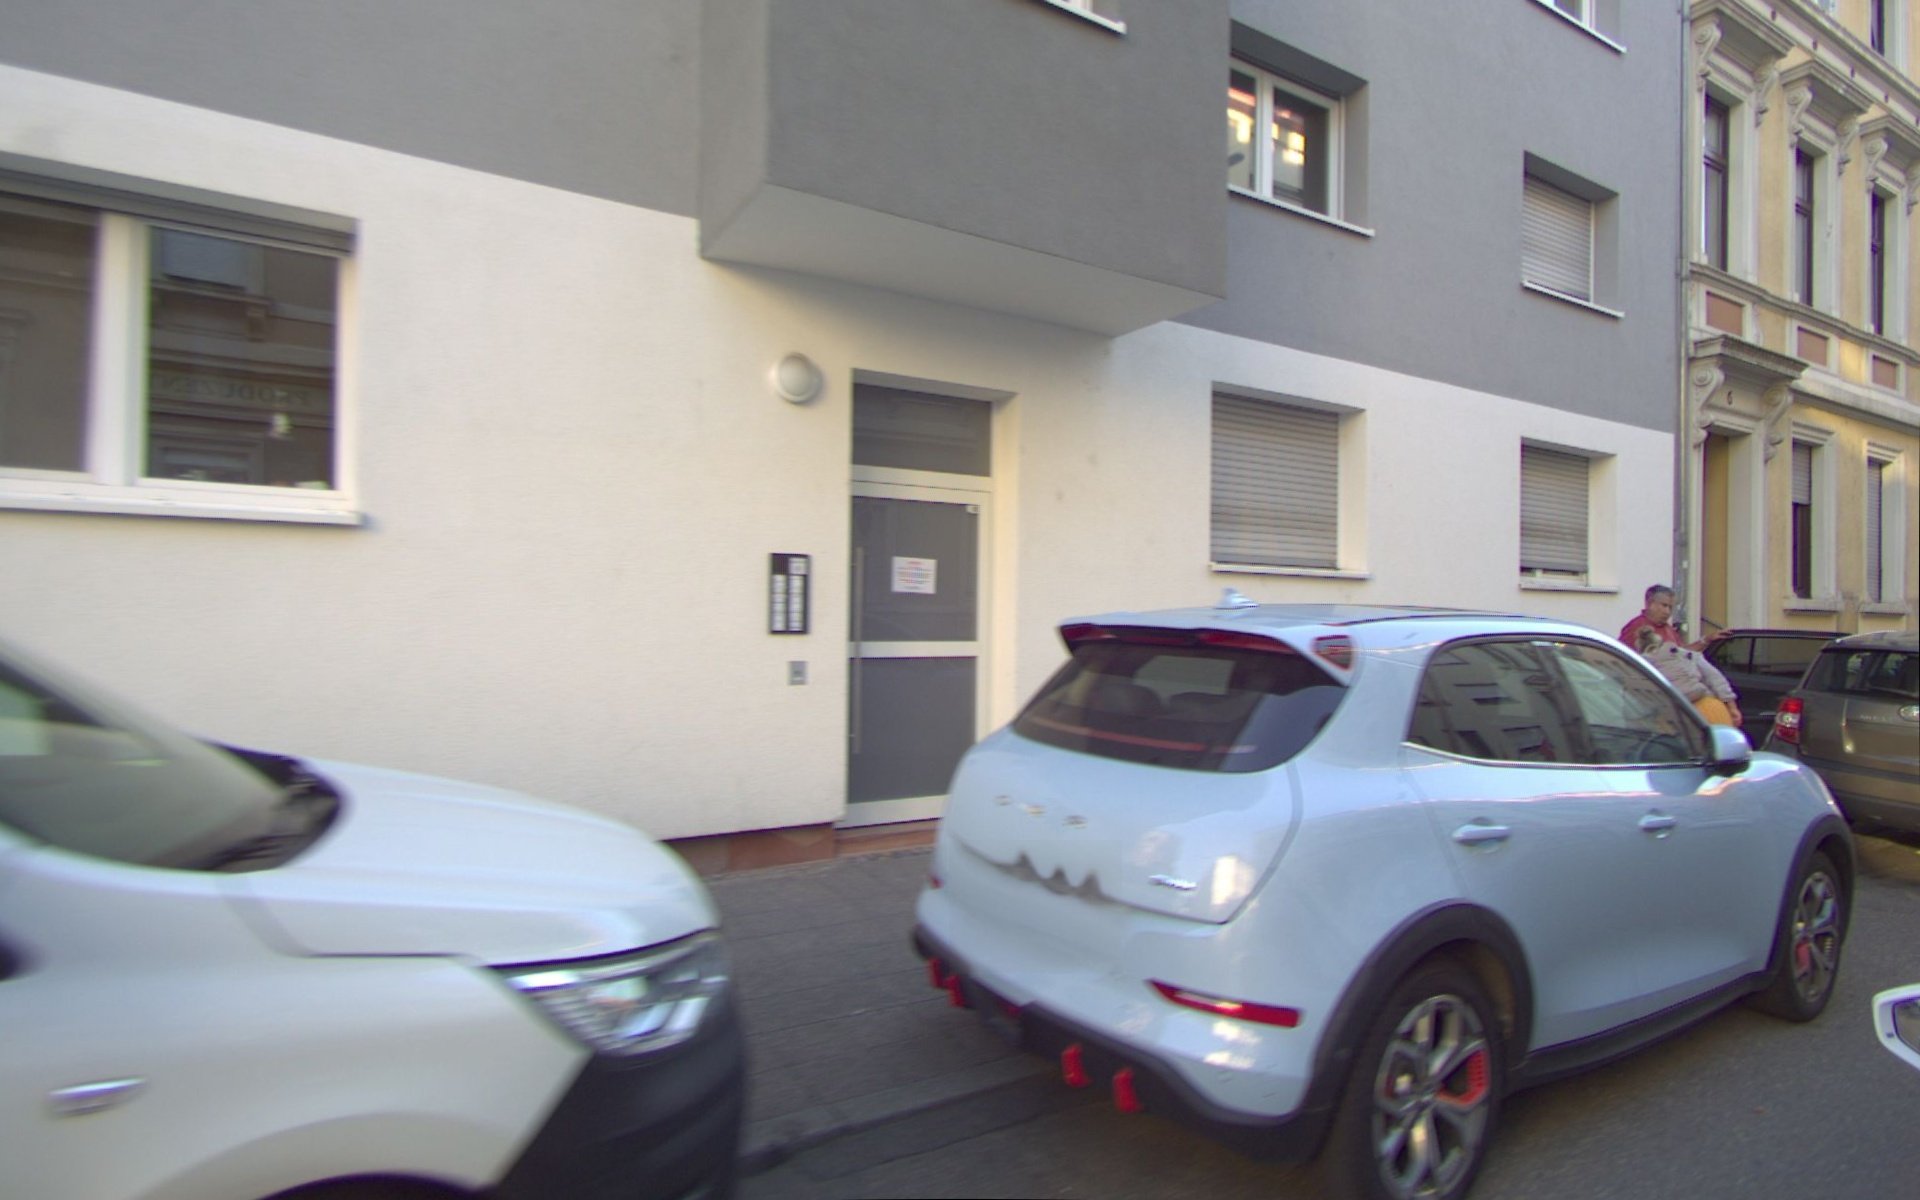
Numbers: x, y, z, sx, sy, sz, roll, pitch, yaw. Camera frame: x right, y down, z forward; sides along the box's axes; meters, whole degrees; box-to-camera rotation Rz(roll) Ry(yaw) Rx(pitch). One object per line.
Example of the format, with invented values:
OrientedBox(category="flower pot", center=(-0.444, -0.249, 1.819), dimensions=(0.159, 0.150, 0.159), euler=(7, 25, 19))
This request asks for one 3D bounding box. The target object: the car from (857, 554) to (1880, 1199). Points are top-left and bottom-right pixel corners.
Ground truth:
OrientedBox(category="car", center=(1.901, 0.719, 4.009), dimensions=(4.323, 1.584, 1.752), euler=(0, -1, -35))

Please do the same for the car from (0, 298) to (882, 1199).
OrientedBox(category="car", center=(-2.318, 0.550, 1.467), dimensions=(4.138, 1.838, 1.622), euler=(1, -1, -32))

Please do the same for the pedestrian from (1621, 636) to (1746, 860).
OrientedBox(category="pedestrian", center=(4.972, 0.970, 6.943), dimensions=(0.650, 1.429, 0.671), euler=(0, -1, 32))

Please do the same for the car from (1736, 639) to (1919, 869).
OrientedBox(category="car", center=(7.426, 0.995, 7.152), dimensions=(4.085, 1.349, 1.675), euler=(2, -2, -31))

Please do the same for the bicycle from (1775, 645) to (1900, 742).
OrientedBox(category="bicycle", center=(11.005, 1.132, 12.577), dimensions=(2.105, 1.133, 0.531), euler=(1, -1, -30))

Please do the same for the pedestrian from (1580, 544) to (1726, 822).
OrientedBox(category="pedestrian", center=(5.488, 0.622, 7.958), dimensions=(0.769, 2.040, 0.791), euler=(1, -1, -41))
